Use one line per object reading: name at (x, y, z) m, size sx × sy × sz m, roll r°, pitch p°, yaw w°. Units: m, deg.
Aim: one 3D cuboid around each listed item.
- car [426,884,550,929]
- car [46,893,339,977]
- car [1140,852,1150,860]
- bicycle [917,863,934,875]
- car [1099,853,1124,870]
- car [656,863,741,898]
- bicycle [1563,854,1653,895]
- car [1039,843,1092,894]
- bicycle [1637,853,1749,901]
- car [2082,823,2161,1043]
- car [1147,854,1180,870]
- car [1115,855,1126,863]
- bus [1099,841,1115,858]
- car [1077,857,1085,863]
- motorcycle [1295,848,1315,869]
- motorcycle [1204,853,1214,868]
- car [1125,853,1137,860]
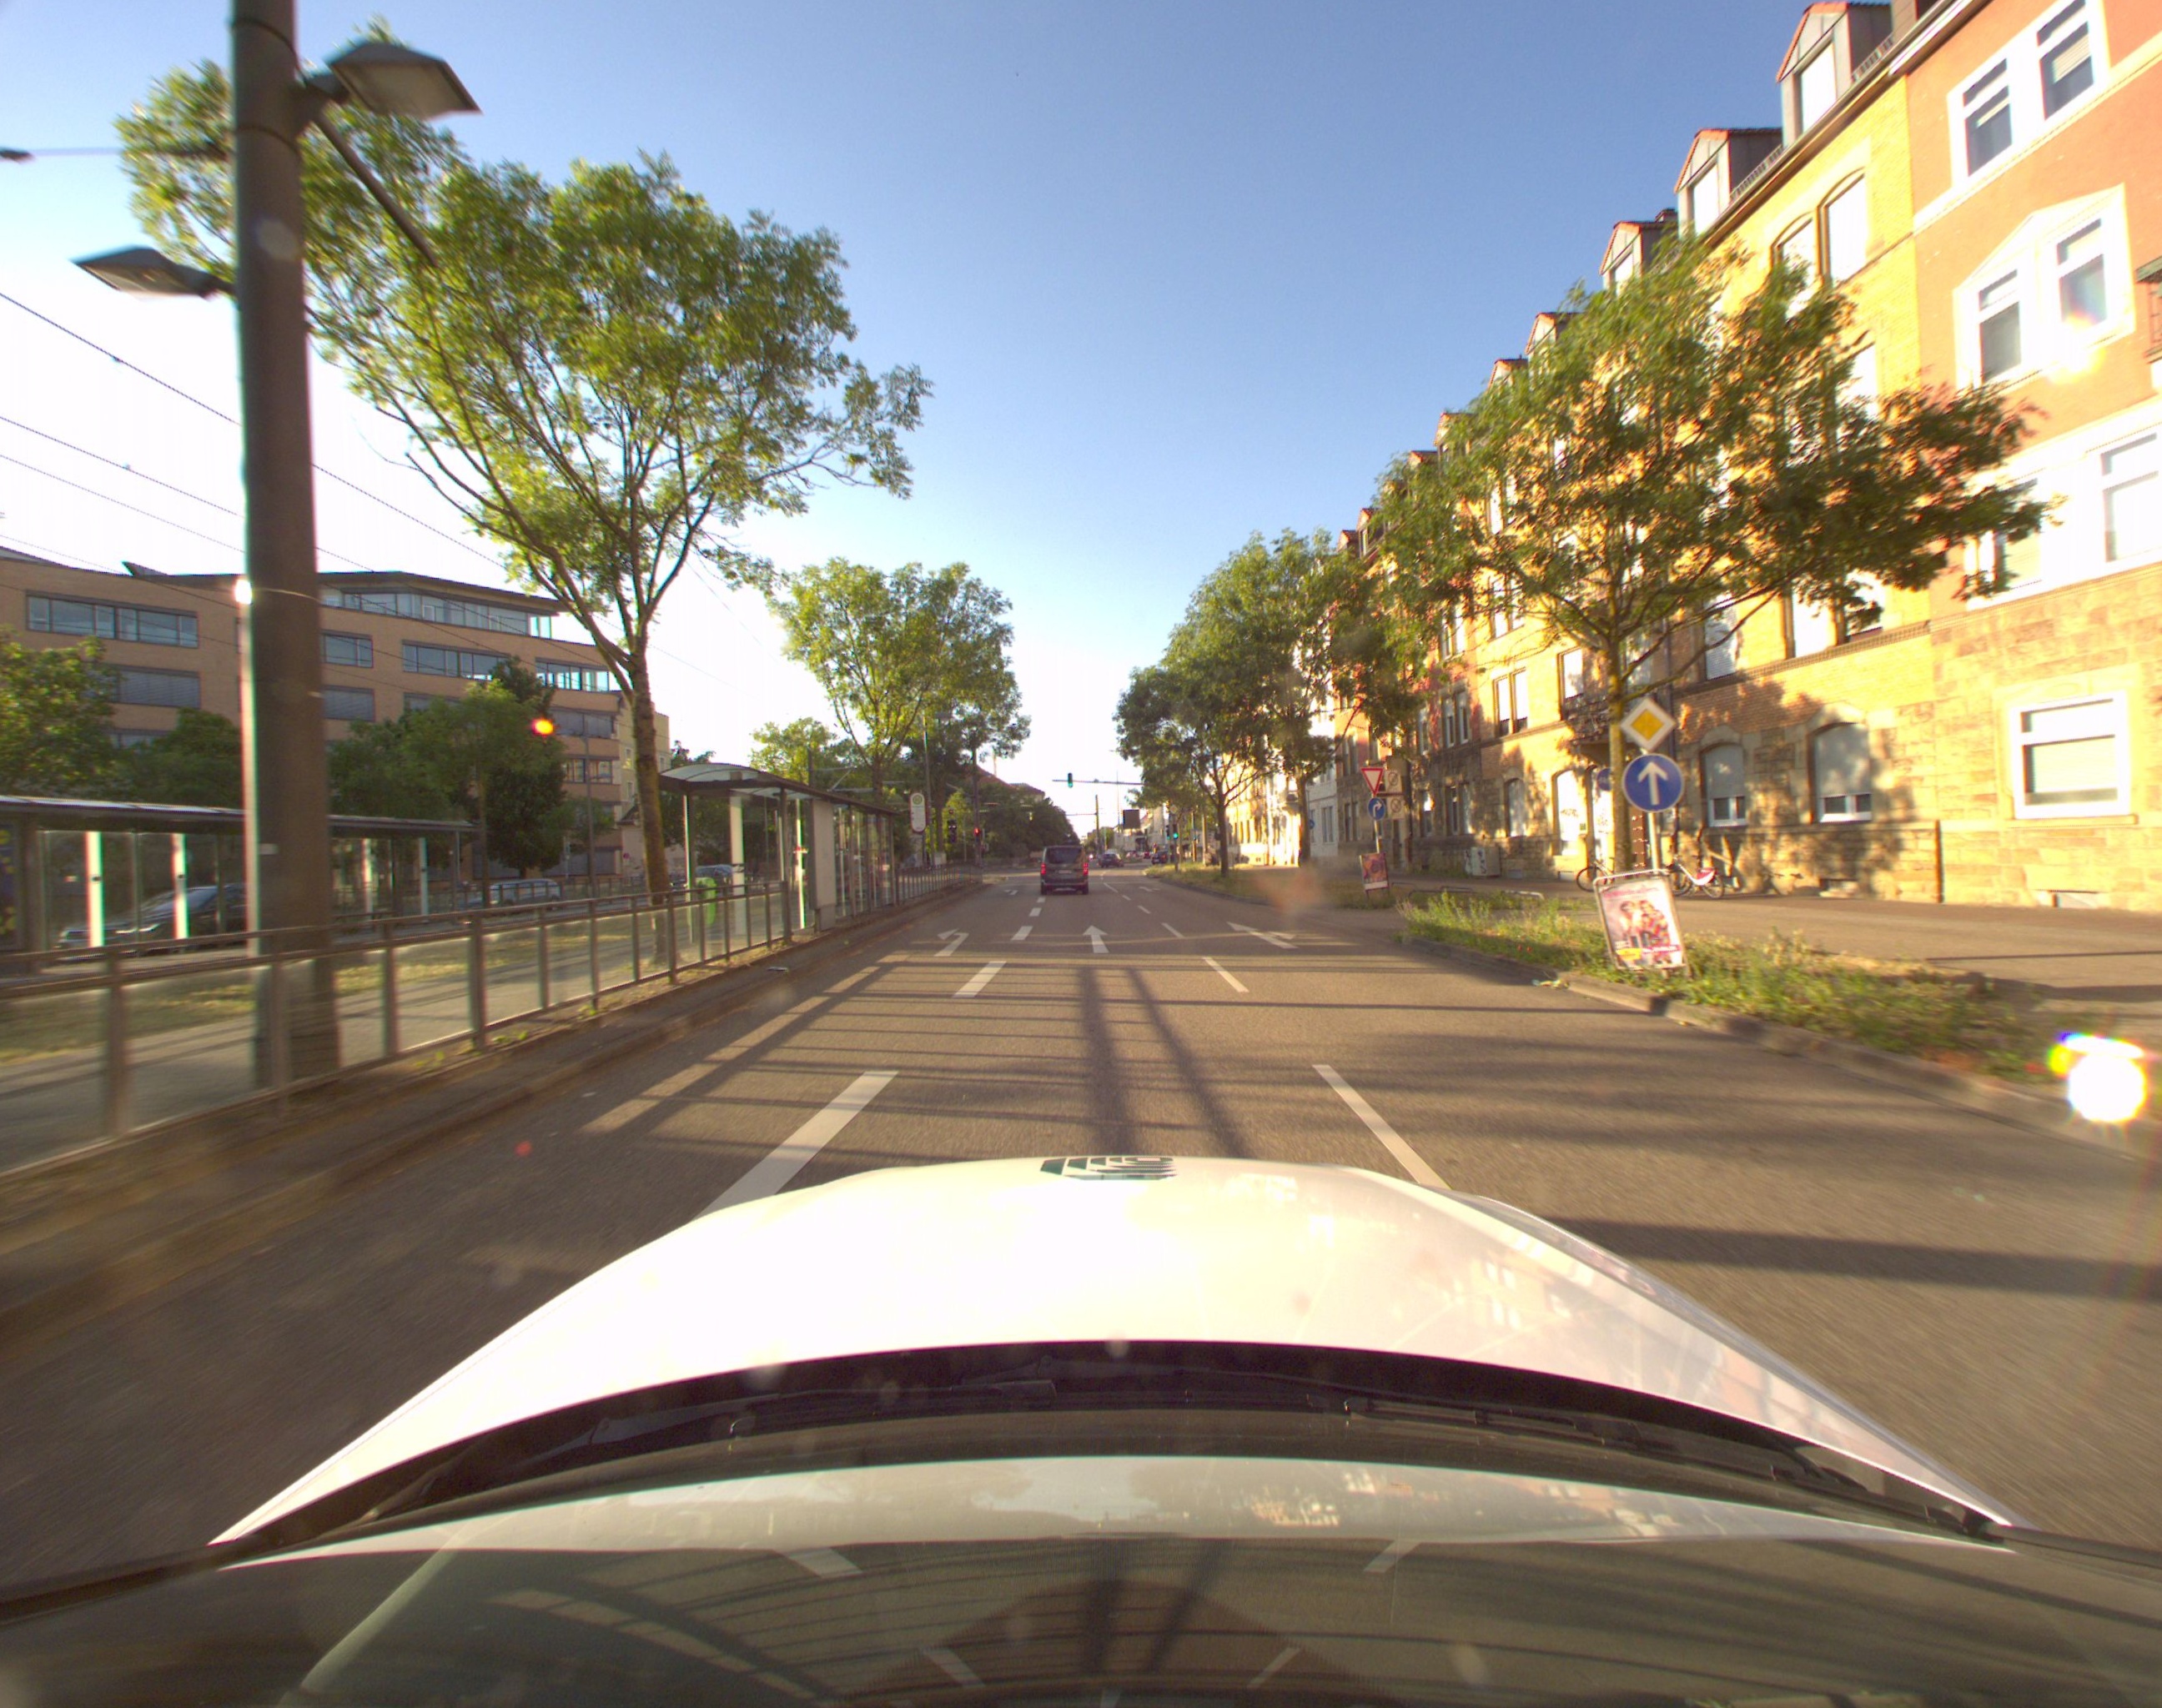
car at (-22.459, 1.952, 31.096) m, size 1.606 × 1.413 × 4.430 m, roll -2°, pitch 0°, yaw -3°
car at (-19.215, 1.677, 17.977) m, size 1.790 × 1.415 × 4.337 m, roll -1°, pitch 0°, yaw -2°
car at (14.364, 0.498, 182.742) m, size 1.987 × 1.656 × 4.298 m, roll -2°, pitch 0°, yaw 0°
bicycle at (-17.086, 1.649, 89.532) m, size 1.732 × 1.142 × 0.552 m, roll -2°, pitch 0°, yaw -44°
car at (3.017, 0.702, 79.388) m, size 1.834 × 1.544 × 3.642 m, roll -2°, pitch 0°, yaw 11°
car at (-19.507, 1.309, 41.812) m, size 1.987 × 1.552 × 4.893 m, roll -2°, pitch 0°, yaw 0°
bicycle at (13.176, 0.483, 20.450) m, size 0.869 × 0.916 × 2.084 m, roll -4°, pitch 0°, yaw 0°
car at (-0.682, 0.562, 32.727) m, size 1.989 × 1.901 × 4.294 m, roll 0°, pitch 0°, yaw -3°
bicycle at (13.371, 0.480, 17.901) m, size 0.731 × 0.948 × 2.340 m, roll -3°, pitch 0°, yaw 2°
car at (7.972, 0.527, 3.655) m, size 1.699 × 1.448 × 4.286 m, roll 1°, pitch 0°, yaw -1°
car at (8.067, 0.763, 79.518) m, size 1.975 × 1.510 × 4.023 m, roll -1°, pitch 0°, yaw 24°
car at (9.051, 1.160, 187.156) m, size 1.990 × 1.656 × 4.293 m, roll -2°, pitch 0°, yaw -4°
bus at (7.228, -1.194, 223.877) m, size 3.284 × 4.617 × 9.983 m, roll -1°, pitch 0°, yaw -4°
car at (0.045, 1.763, 234.766) m, size 1.984 × 1.595 × 4.006 m, roll -2°, pitch 0°, yaw 5°
motorcycle at (13.676, 0.268, 49.682) m, size 0.552 × 1.214 × 2.070 m, roll -1°, pitch -1°, yaw -3°
motorcycle at (9.630, 0.472, 61.282) m, size 0.601 × 1.044 × 1.747 m, roll -2°, pitch 0°, yaw 5°
car at (11.510, 0.625, 187.927) m, size 1.990 × 1.656 × 4.293 m, roll -2°, pitch 0°, yaw -4°
